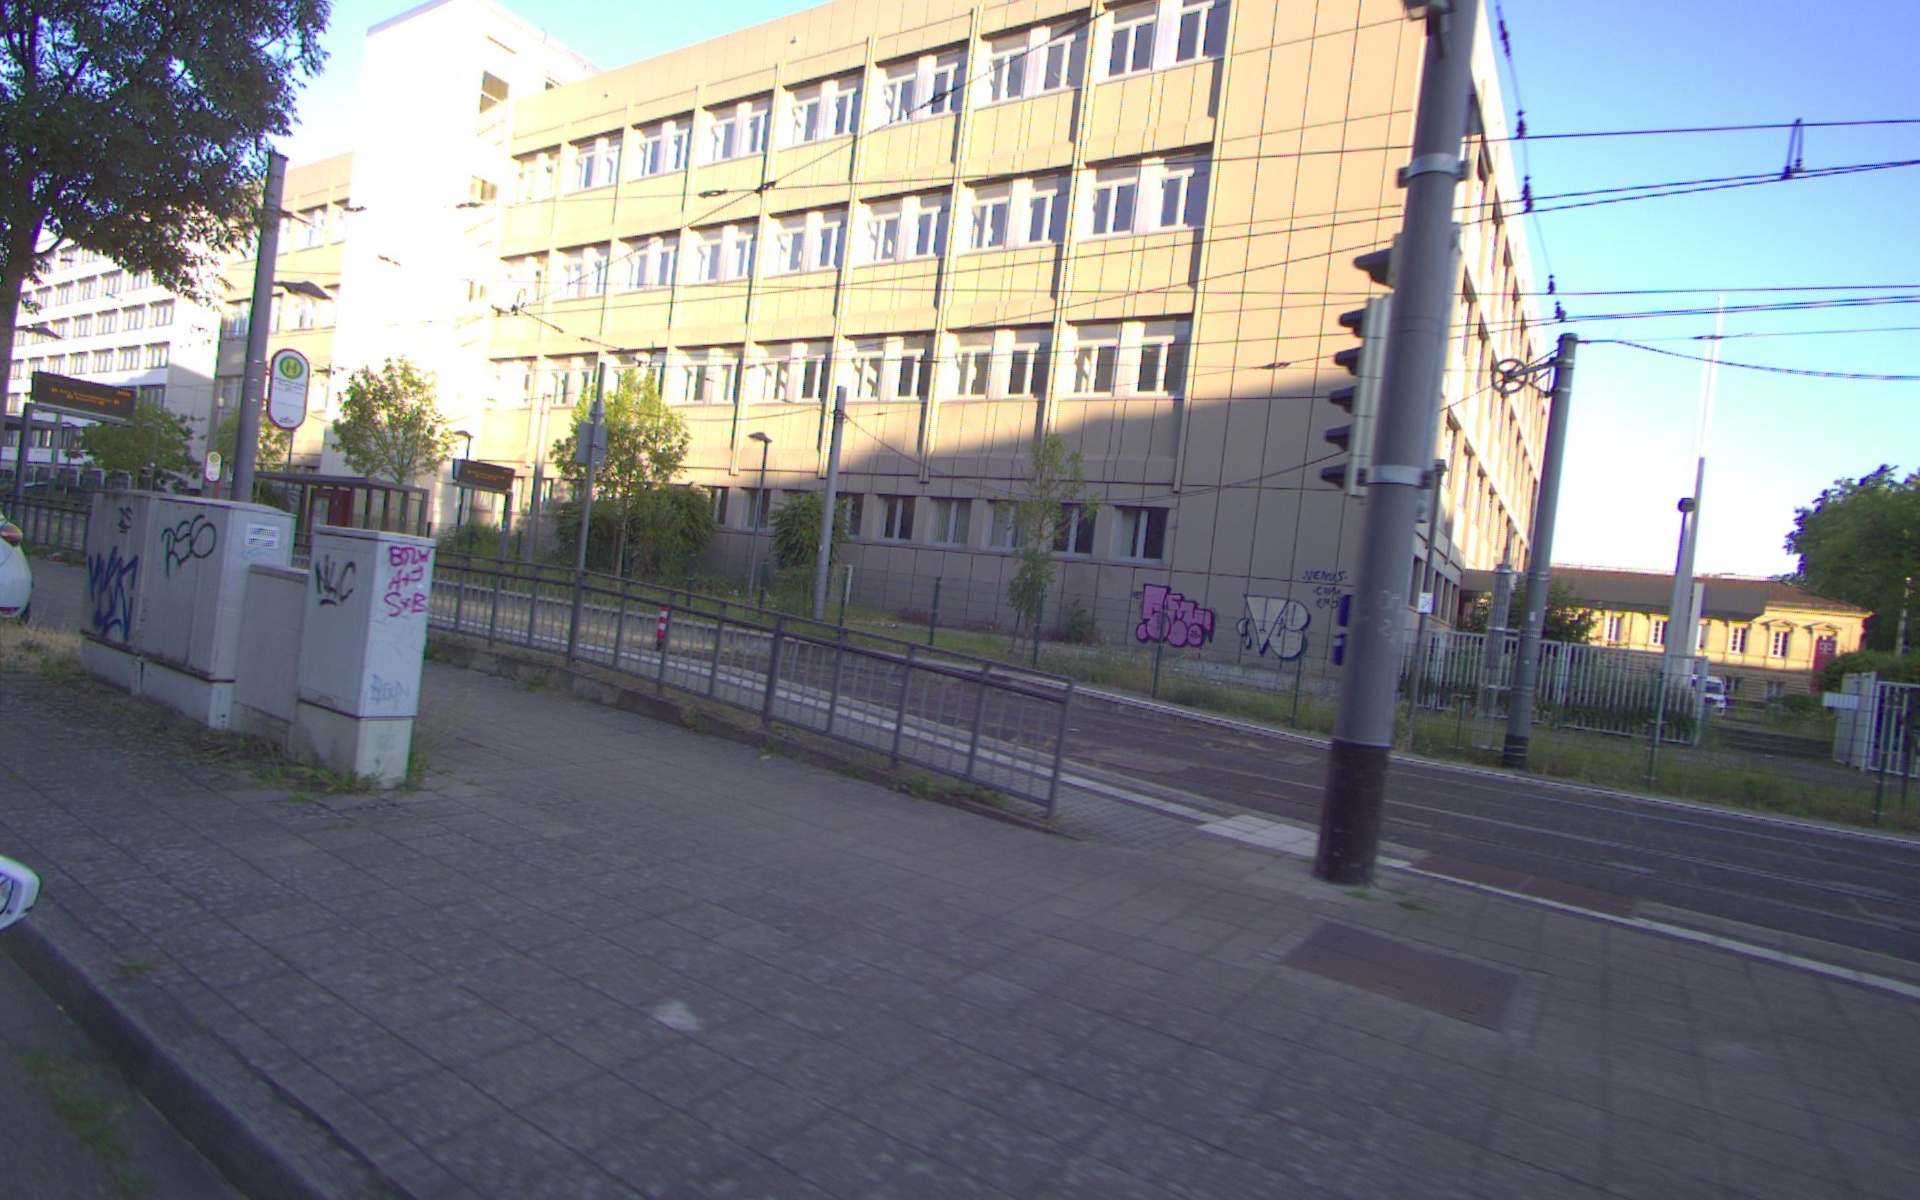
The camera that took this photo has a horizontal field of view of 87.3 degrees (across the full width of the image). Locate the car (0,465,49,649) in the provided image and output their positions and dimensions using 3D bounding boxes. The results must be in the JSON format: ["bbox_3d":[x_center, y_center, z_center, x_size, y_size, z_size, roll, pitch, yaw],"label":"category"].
[{"bbox_3d":[-10.325,-0.581,9.334,3.946,1.605,1.748,7,3,32],"label":"car"}]
